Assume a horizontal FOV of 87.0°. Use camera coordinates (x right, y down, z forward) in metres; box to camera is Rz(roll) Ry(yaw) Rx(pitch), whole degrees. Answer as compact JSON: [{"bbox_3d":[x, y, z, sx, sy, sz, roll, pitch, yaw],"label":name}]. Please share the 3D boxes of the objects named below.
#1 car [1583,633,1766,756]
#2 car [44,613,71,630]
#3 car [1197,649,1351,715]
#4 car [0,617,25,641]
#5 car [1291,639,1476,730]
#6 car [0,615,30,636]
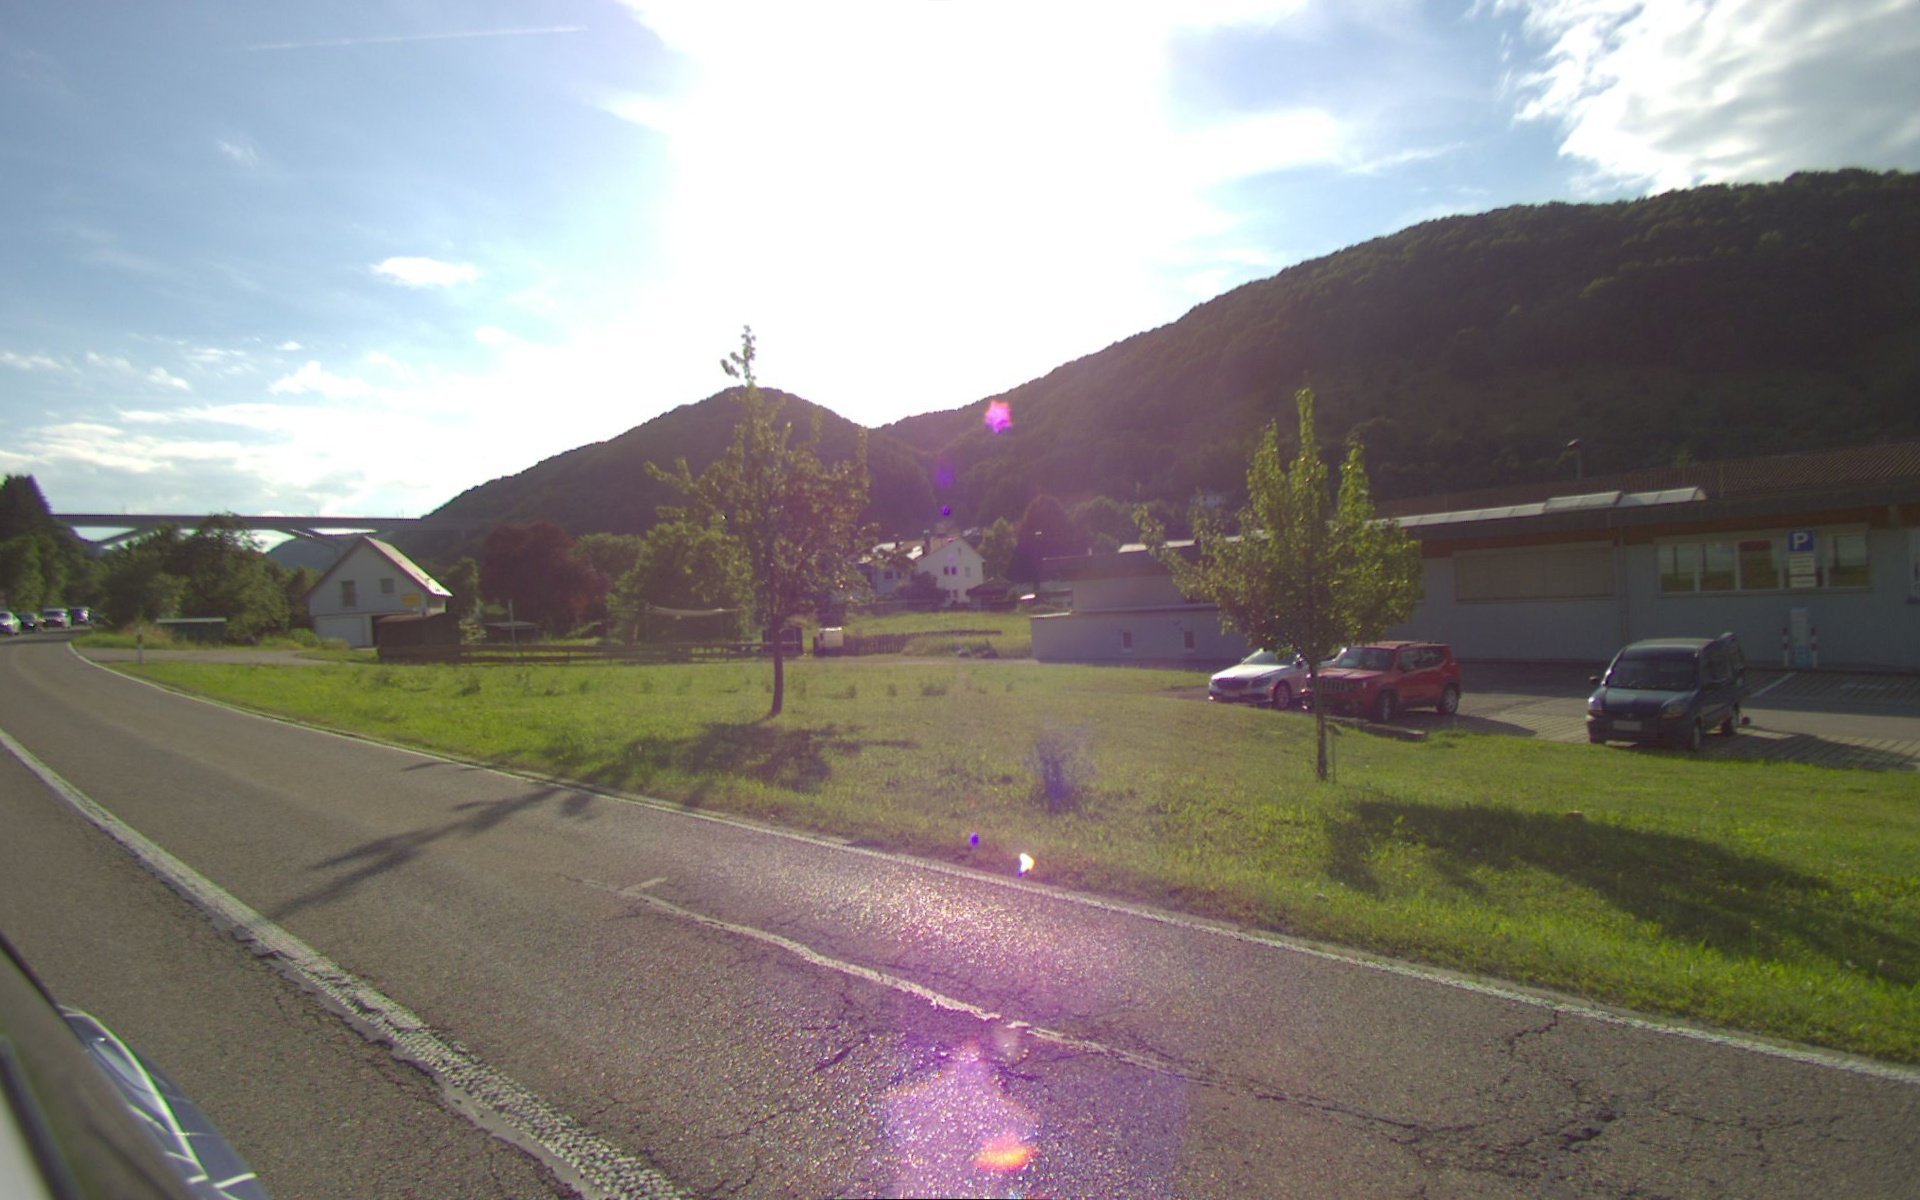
[{"bbox_3d":[13.286,1.613,18.693,4.931,1.807,1.687,-1,0,-42],"label":"car"},{"bbox_3d":[-81.107,1.938,90.936,1.607,1.490,3.681,-1,0,-45],"label":"car"},{"bbox_3d":[7.887,1.988,25.317,3.836,1.379,1.856,0,0,-39],"label":"car"},{"bbox_3d":[-62.543,1.878,66.276,3.679,1.490,1.608,-1,0,43],"label":"car"},{"bbox_3d":[9.538,1.806,22.680,4.264,1.682,1.852,-1,0,-36],"label":"car"},{"bbox_3d":[-71.990,1.941,77.054,1.606,1.490,3.685,-1,0,-41],"label":"car"}]
